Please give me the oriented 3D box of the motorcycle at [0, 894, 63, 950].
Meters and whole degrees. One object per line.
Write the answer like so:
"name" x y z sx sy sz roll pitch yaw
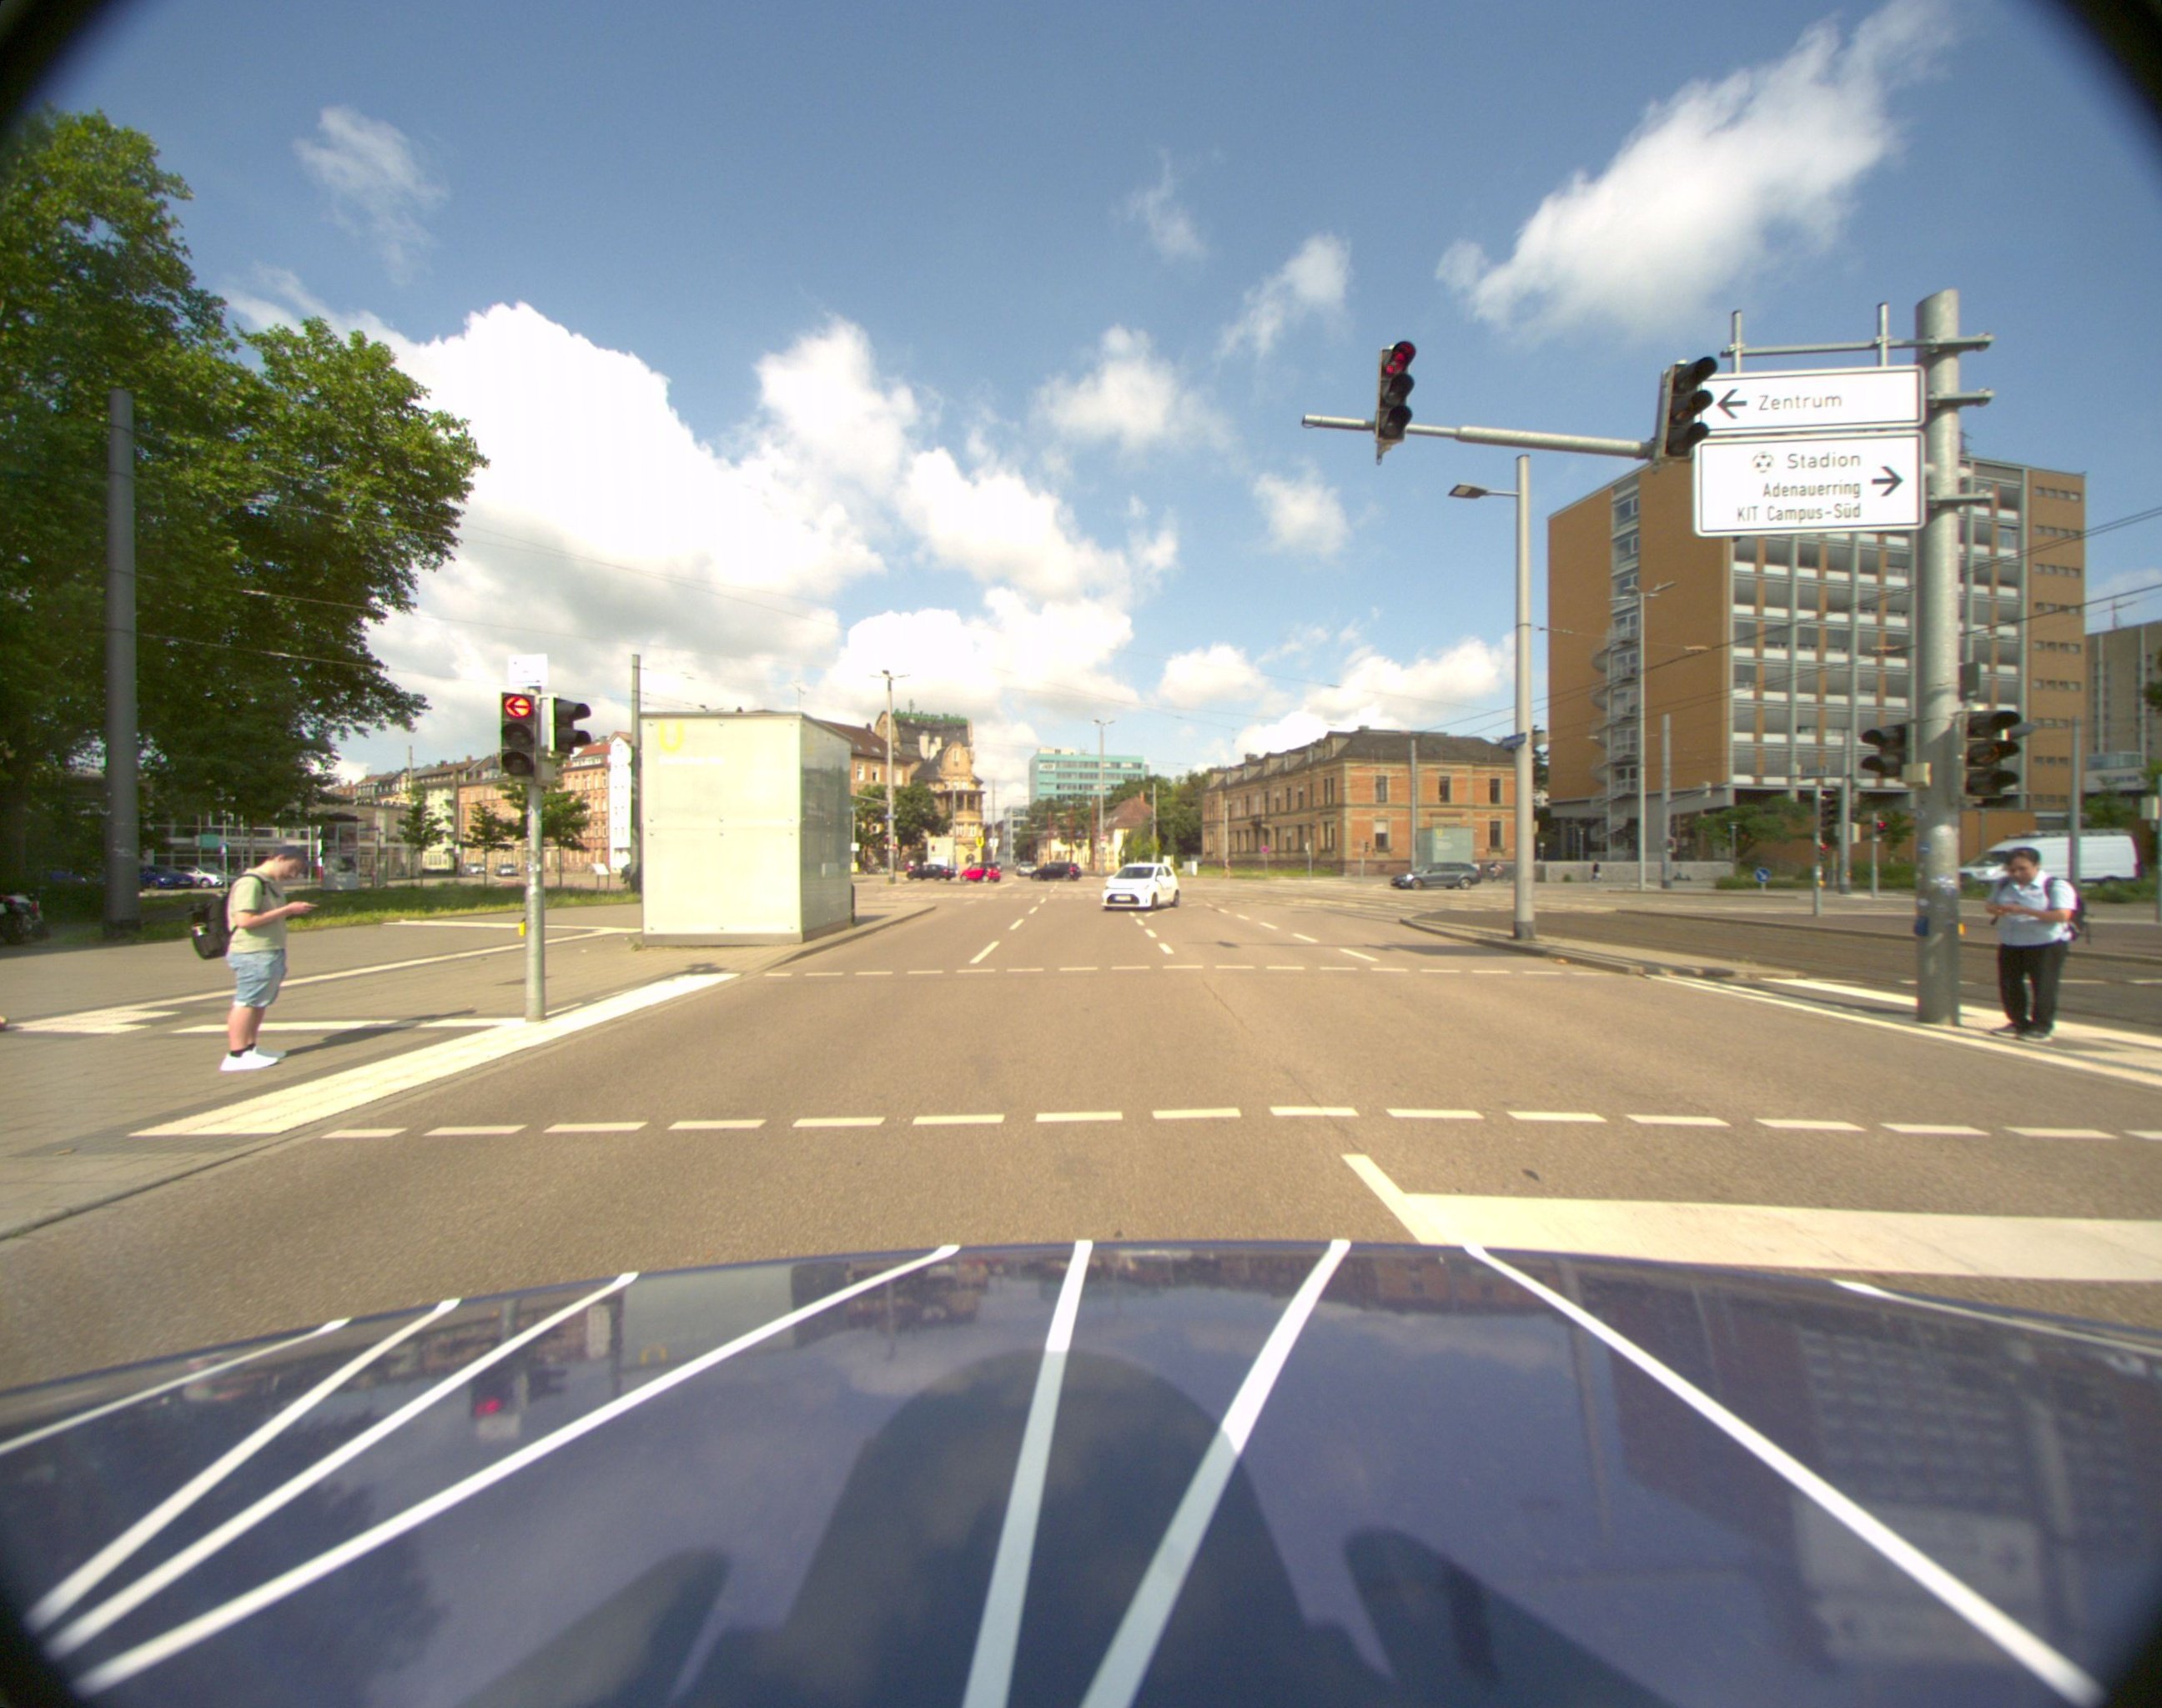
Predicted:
"motorcycle" -20.846 1.312 14.936 0.606 0.898 1.889 -4 4 -42

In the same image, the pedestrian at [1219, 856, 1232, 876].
"pedestrian" 12.456 1.024 65.678 0.785 1.727 0.858 0 0 -20

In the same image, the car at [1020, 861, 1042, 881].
"car" -5.716 1.881 86.092 2.000 1.730 4.334 -3 4 -9

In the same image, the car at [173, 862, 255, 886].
"car" -59.320 1.366 52.034 3.993 1.543 1.927 0 0 11

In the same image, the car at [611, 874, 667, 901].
"car" -32.234 2.396 55.370 3.988 1.544 2.003 1 6 36

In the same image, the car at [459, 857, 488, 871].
"car" -78.932 1.279 98.653 3.988 1.696 1.790 0 0 34

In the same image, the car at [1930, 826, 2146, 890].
"car" 45.051 0.197 35.969 6.138 2.862 2.489 0 0 13

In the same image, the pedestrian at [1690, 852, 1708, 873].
"pedestrian" 46.551 0.665 57.255 0.766 1.579 0.936 -1 1 -43

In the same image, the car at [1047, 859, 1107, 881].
"car" -0.307 1.162 55.867 3.990 1.446 1.716 -1 3 23

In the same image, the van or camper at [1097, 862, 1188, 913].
"van or camper" 2.082 1.021 24.543 1.624 1.467 4.007 0 0 25

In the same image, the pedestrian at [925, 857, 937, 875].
"pedestrian" -13.789 1.075 69.914 0.707 1.632 0.798 0 1 34

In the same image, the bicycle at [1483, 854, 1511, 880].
"bicycle" 29.575 0.912 54.027 0.733 1.767 1.632 -1 0 -39

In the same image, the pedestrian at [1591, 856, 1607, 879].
"pedestrian" 36.183 0.932 53.070 0.763 1.579 0.774 0 1 20

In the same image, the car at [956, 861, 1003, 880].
"car" -7.579 1.227 56.615 3.003 1.208 1.612 -2 3 25

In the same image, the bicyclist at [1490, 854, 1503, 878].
"bicyclist" 29.566 0.856 54.048 0.575 1.661 0.654 -1 1 -38

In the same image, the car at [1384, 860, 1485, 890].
"car" 19.012 1.117 41.004 4.539 1.274 1.999 -2 4 4

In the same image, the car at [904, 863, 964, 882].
"car" -12.266 1.530 63.452 4.498 1.390 2.002 1 3 19

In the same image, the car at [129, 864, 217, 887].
"car" -58.578 1.386 49.043 3.993 1.436 1.928 0 0 12

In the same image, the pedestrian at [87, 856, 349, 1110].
"pedestrian" -6.688 0.932 5.981 0.996 1.750 0.784 -3 5 -24

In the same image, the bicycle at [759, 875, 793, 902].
"bicycle" -13.733 1.543 34.283 0.789 1.121 1.991 0 0 -3

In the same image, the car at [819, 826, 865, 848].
"car" -24.958 -1.813 79.432 3.997 2.003 1.998 -2 4 -1

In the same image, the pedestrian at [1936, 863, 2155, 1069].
"pedestrian" 8.310 0.920 6.592 0.844 1.664 0.795 0 1 -1

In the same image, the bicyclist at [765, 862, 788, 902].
"bicyclist" -13.744 1.242 34.303 0.711 1.735 0.827 1 2 -4

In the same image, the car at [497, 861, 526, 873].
"car" -65.230 1.432 87.022 3.988 1.324 2.004 0 0 42

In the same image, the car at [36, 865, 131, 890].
"car" -59.972 1.393 45.700 3.993 1.436 1.928 0 0 12
